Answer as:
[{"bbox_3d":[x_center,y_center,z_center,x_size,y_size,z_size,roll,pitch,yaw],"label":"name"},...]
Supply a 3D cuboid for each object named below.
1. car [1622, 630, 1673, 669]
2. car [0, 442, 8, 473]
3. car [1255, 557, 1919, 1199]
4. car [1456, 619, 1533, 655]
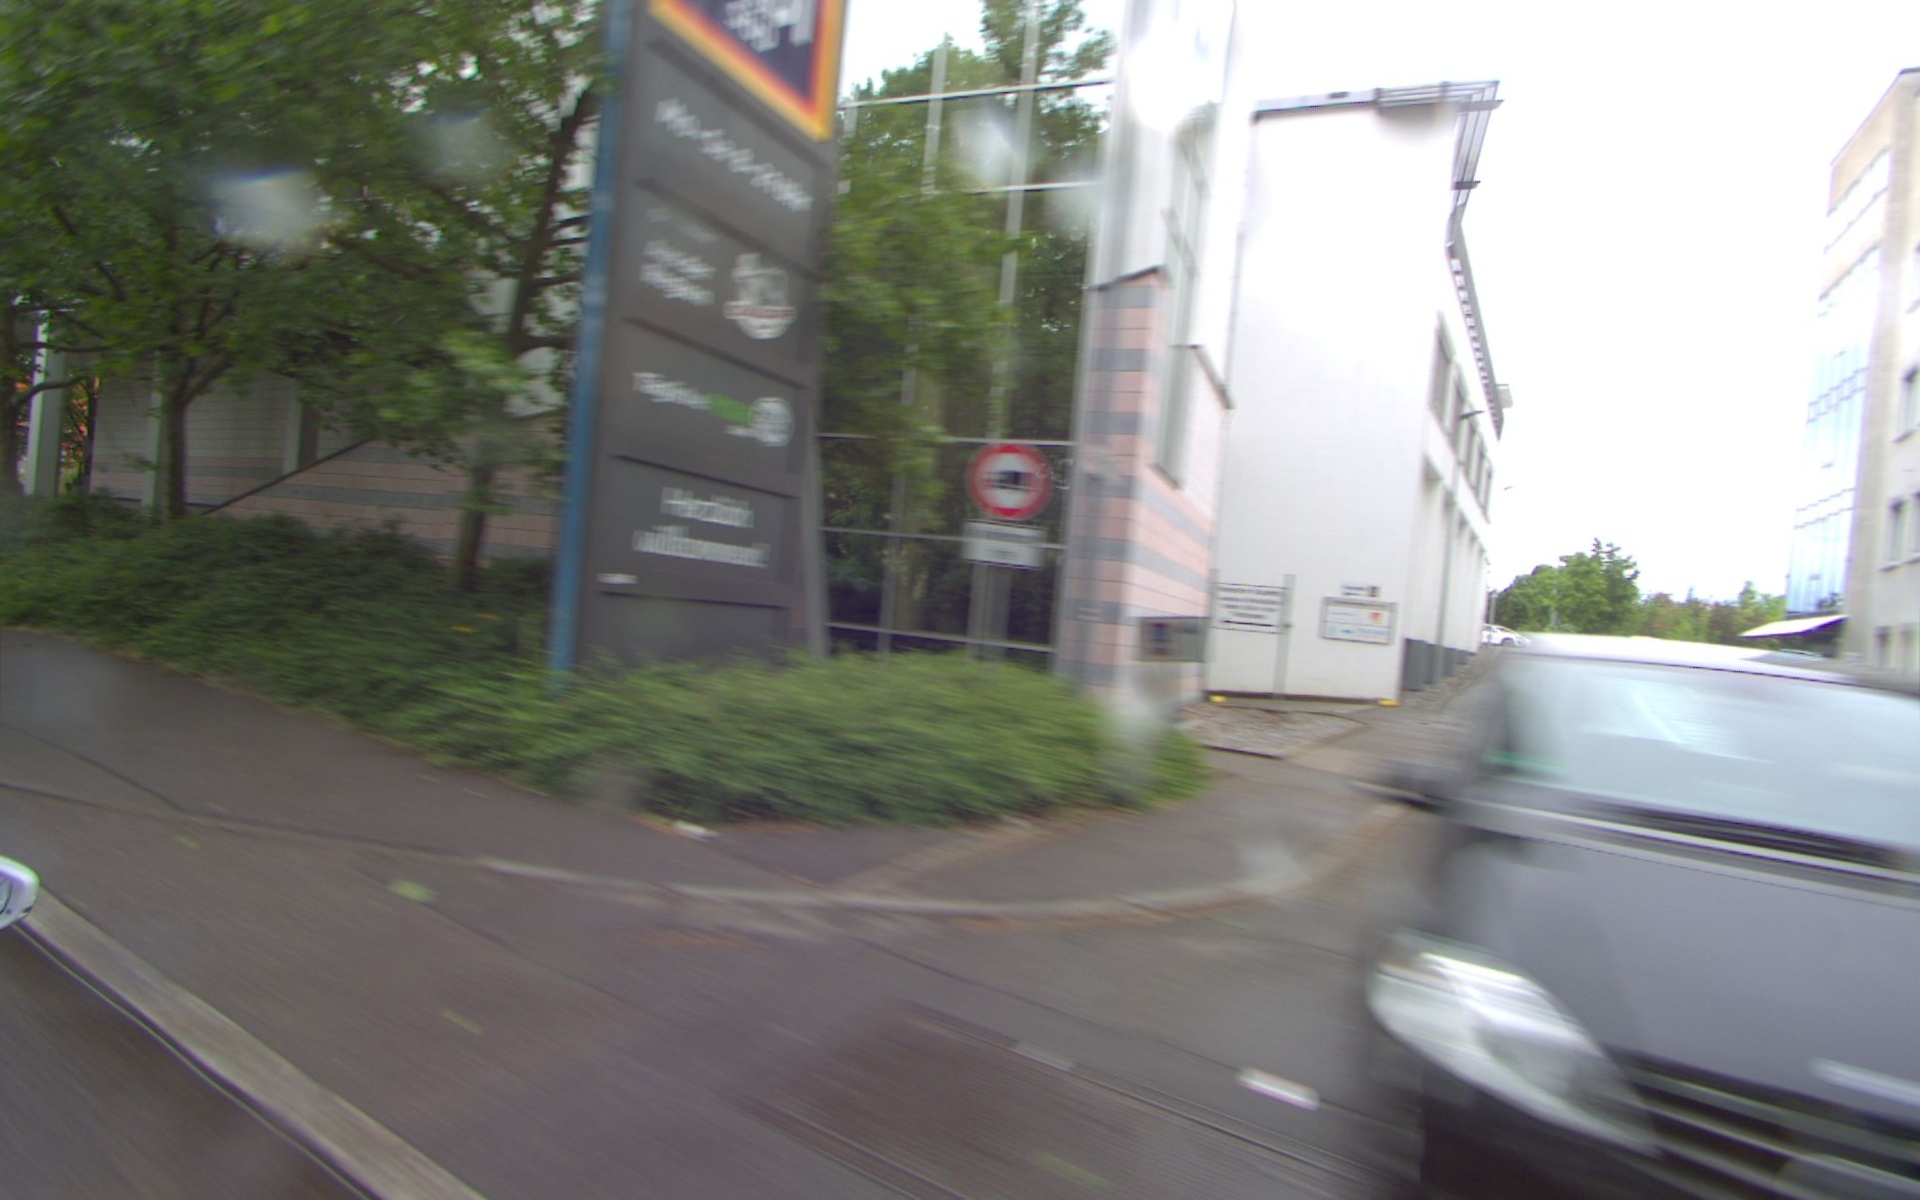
[{"bbox_3d":[33.750,2.470,49.469,1.756,1.656,3.850,7,1,33],"label":"car"},{"bbox_3d":[-47.314,-7.035,46.711,1.871,1.392,4.107,7,-1,32],"label":"car"},{"bbox_3d":[2.363,0.878,3.335,1.990,1.567,3.856,7,1,25],"label":"car"},{"bbox_3d":[33.068,2.290,62.280,3.935,1.728,1.561,7,1,33],"label":"car"}]
